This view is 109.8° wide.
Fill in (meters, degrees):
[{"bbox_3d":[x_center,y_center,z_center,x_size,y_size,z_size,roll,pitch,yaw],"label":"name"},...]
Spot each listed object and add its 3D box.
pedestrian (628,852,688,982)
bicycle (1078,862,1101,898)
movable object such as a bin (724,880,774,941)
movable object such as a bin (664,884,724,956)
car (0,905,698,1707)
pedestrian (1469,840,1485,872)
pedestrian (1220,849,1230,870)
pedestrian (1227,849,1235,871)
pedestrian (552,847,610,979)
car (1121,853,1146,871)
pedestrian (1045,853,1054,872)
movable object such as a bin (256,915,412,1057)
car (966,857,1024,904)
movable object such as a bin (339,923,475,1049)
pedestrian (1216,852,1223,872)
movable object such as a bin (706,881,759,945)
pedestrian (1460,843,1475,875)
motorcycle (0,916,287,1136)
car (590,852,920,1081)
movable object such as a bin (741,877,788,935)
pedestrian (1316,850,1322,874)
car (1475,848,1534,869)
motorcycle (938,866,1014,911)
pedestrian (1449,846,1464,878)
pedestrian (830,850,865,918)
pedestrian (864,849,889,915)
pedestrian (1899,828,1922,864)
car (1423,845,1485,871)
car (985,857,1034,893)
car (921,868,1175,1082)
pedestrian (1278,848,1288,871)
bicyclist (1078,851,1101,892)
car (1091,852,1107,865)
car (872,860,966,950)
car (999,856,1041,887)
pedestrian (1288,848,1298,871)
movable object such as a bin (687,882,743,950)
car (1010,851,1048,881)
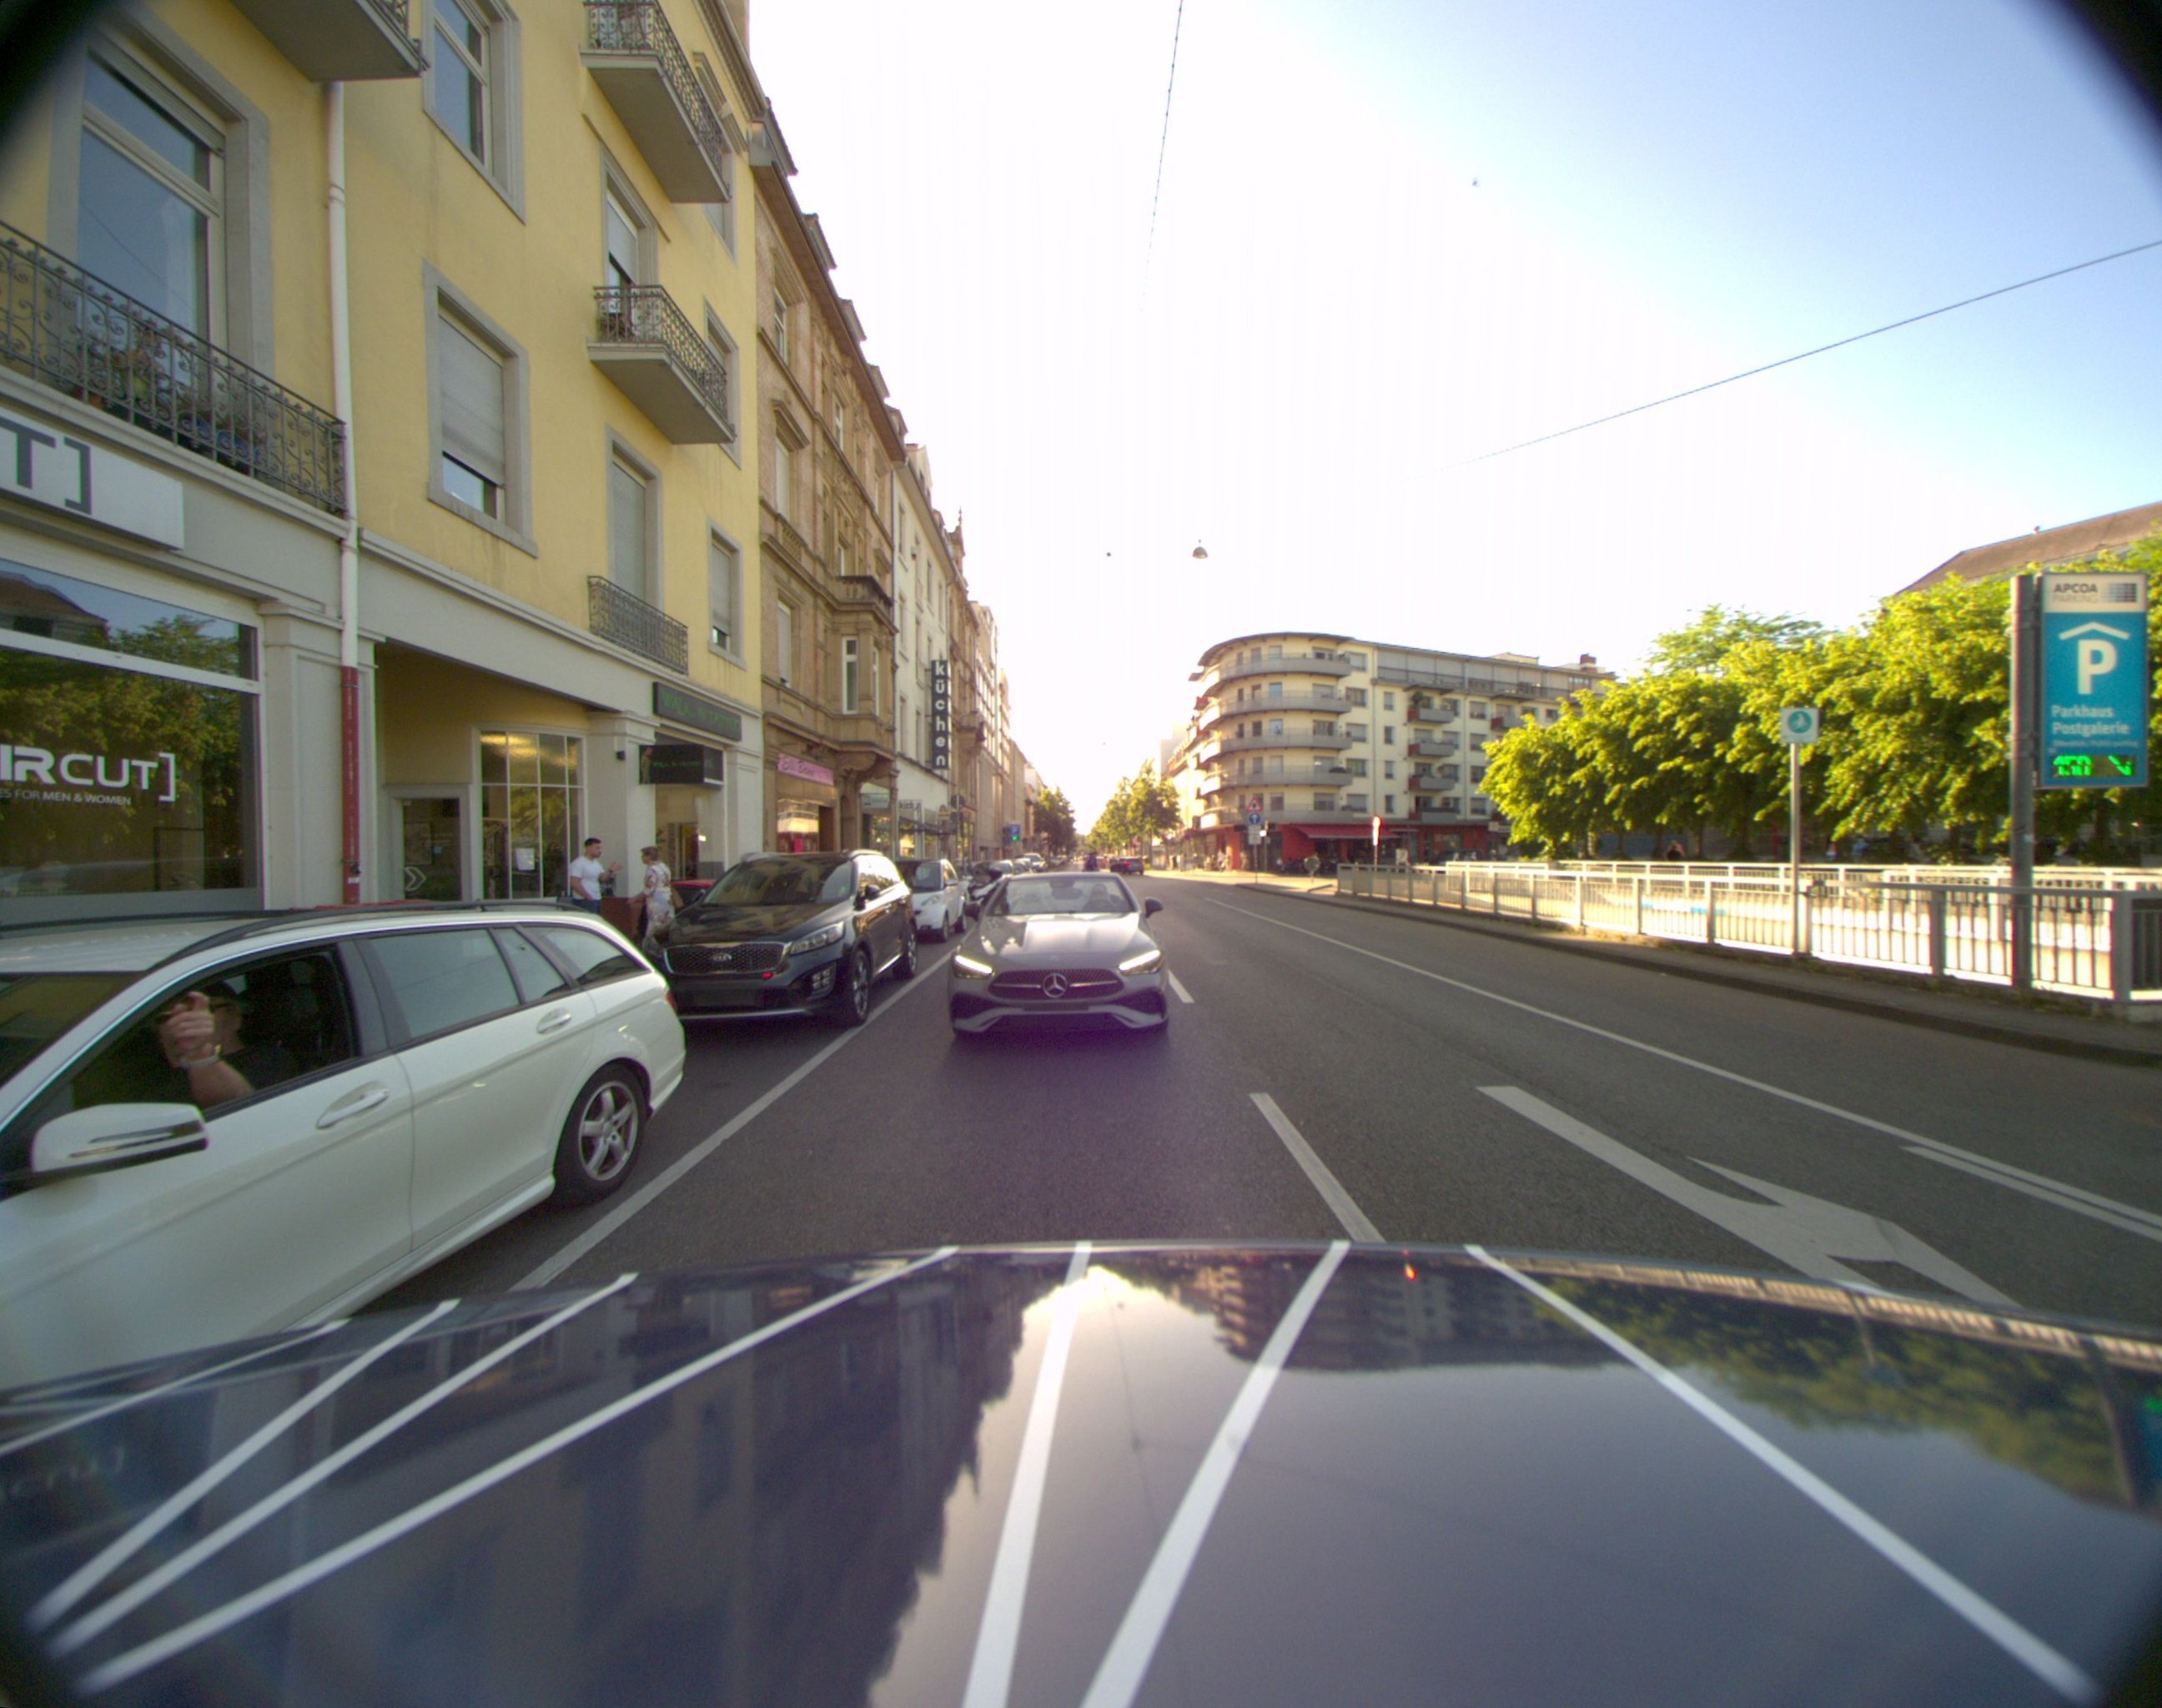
[{"bbox_3d":[-5.566,0.804,10.010,0.594,1.651,0.450,0,1,-44],"label":"pedestrian"},{"bbox_3d":[0.323,0.944,27.755,0.798,1.226,1.773,-1,0,1],"label":"bicycle"},{"bbox_3d":[-6.083,1.025,13.949,0.606,1.060,0.619,2,1,1],"label":"movable object such as a bin"},{"bbox_3d":[-6.132,1.033,12.055,0.606,1.060,0.619,2,1,1],"label":"movable object such as a bin"},{"bbox_3d":[-3.096,1.046,2.140,1.743,1.438,4.463,-1,0,0],"label":"car"},{"bbox_3d":[23.023,0.118,44.142,0.602,1.782,0.581,-3,1,-40],"label":"pedestrian"},{"bbox_3d":[11.143,0.436,58.730,0.570,1.612,0.793,-2,1,-3],"label":"pedestrian"},{"bbox_3d":[11.621,0.487,58.746,0.442,1.663,0.516,-2,1,-3],"label":"pedestrian"},{"bbox_3d":[-6.459,0.738,9.826,0.337,1.651,0.525,1,1,23],"label":"pedestrian"},{"bbox_3d":[4.187,0.619,61.148,1.806,1.388,3.926,-1,0,0],"label":"car"},{"bbox_3d":[-2.783,0.742,67.070,0.774,1.606,0.696,-2,1,-3],"label":"pedestrian"},{"bbox_3d":[-6.126,1.057,6.258,0.661,1.035,0.619,2,1,3],"label":"movable object such as a bin"},{"bbox_3d":[-3.044,0.906,27.557,1.737,1.509,4.164,-1,0,-2],"label":"car"},{"bbox_3d":[-6.092,1.173,6.897,0.669,1.019,0.619,2,1,3],"label":"movable object such as a bin"},{"bbox_3d":[10.714,0.585,58.735,0.376,1.521,0.516,-2,1,-3],"label":"pedestrian"},{"bbox_3d":[-6.095,1.019,13.316,0.606,1.060,0.619,2,1,1],"label":"movable object such as a bin"},{"bbox_3d":[22.380,0.295,43.968,0.602,1.782,0.581,-3,2,-45],"label":"pedestrian"},{"bbox_3d":[-6.234,1.010,4.695,0.551,1.085,2.009,0,0,-1],"label":"motorcycle"},{"bbox_3d":[-3.021,0.870,8.231,1.760,1.726,4.571,-1,0,-3],"label":"car"},{"bbox_3d":[-6.065,0.989,14.575,0.606,1.060,0.619,2,1,1],"label":"movable object such as a bin"},{"bbox_3d":[16.940,0.557,54.143,0.270,1.658,0.362,-1,1,32],"label":"pedestrian"},{"bbox_3d":[34.297,0.341,61.552,4.300,1.611,1.952,-2,1,-23],"label":"car"},{"bbox_3d":[-3.215,1.024,23.393,2.178,1.272,0.866,-2,1,-42],"label":"motorcycle"},{"bbox_3d":[21.585,0.466,43.646,0.602,1.782,0.581,-3,2,-45],"label":"pedestrian"},{"bbox_3d":[-5.744,0.734,18.694,0.617,1.623,0.463,-1,1,15],"label":"pedestrian"},{"bbox_3d":[-5.073,0.684,18.846,0.415,1.623,0.514,-2,1,-33],"label":"pedestrian"},{"bbox_3d":[41.763,-0.385,38.264,0.602,1.782,0.581,-2,1,-20],"label":"pedestrian"},{"bbox_3d":[29.088,0.271,59.237,4.432,1.901,1.951,-2,1,-23],"label":"car"},{"bbox_3d":[-3.066,0.871,33.396,1.737,1.409,3.802,-1,0,0],"label":"car"},{"bbox_3d":[-0.232,0.938,7.811,1.848,1.440,4.373,-1,0,0],"label":"car"},{"bbox_3d":[15.072,0.427,56.683,0.575,1.698,0.642,-1,1,3],"label":"pedestrian"},{"bbox_3d":[0.319,0.627,27.721,0.798,1.426,1.008,-1,1,1],"label":"bicyclist"},{"bbox_3d":[2.115,0.518,89.976,1.895,1.388,4.256,-1,0,1],"label":"car"},{"bbox_3d":[-3.045,0.912,14.710,1.275,1.509,2.794,-1,0,-2],"label":"car"},{"bbox_3d":[-2.981,0.838,37.951,1.737,1.409,3.802,-1,0,0],"label":"car"},{"bbox_3d":[15.639,0.388,56.021,0.575,1.698,0.642,-1,1,3],"label":"pedestrian"},{"bbox_3d":[-6.107,1.026,12.702,0.606,1.060,0.619,2,1,1],"label":"movable object such as a bin"},{"bbox_3d":[-2.977,0.666,44.580,1.895,1.680,4.049,-1,0,0],"label":"car"}]
